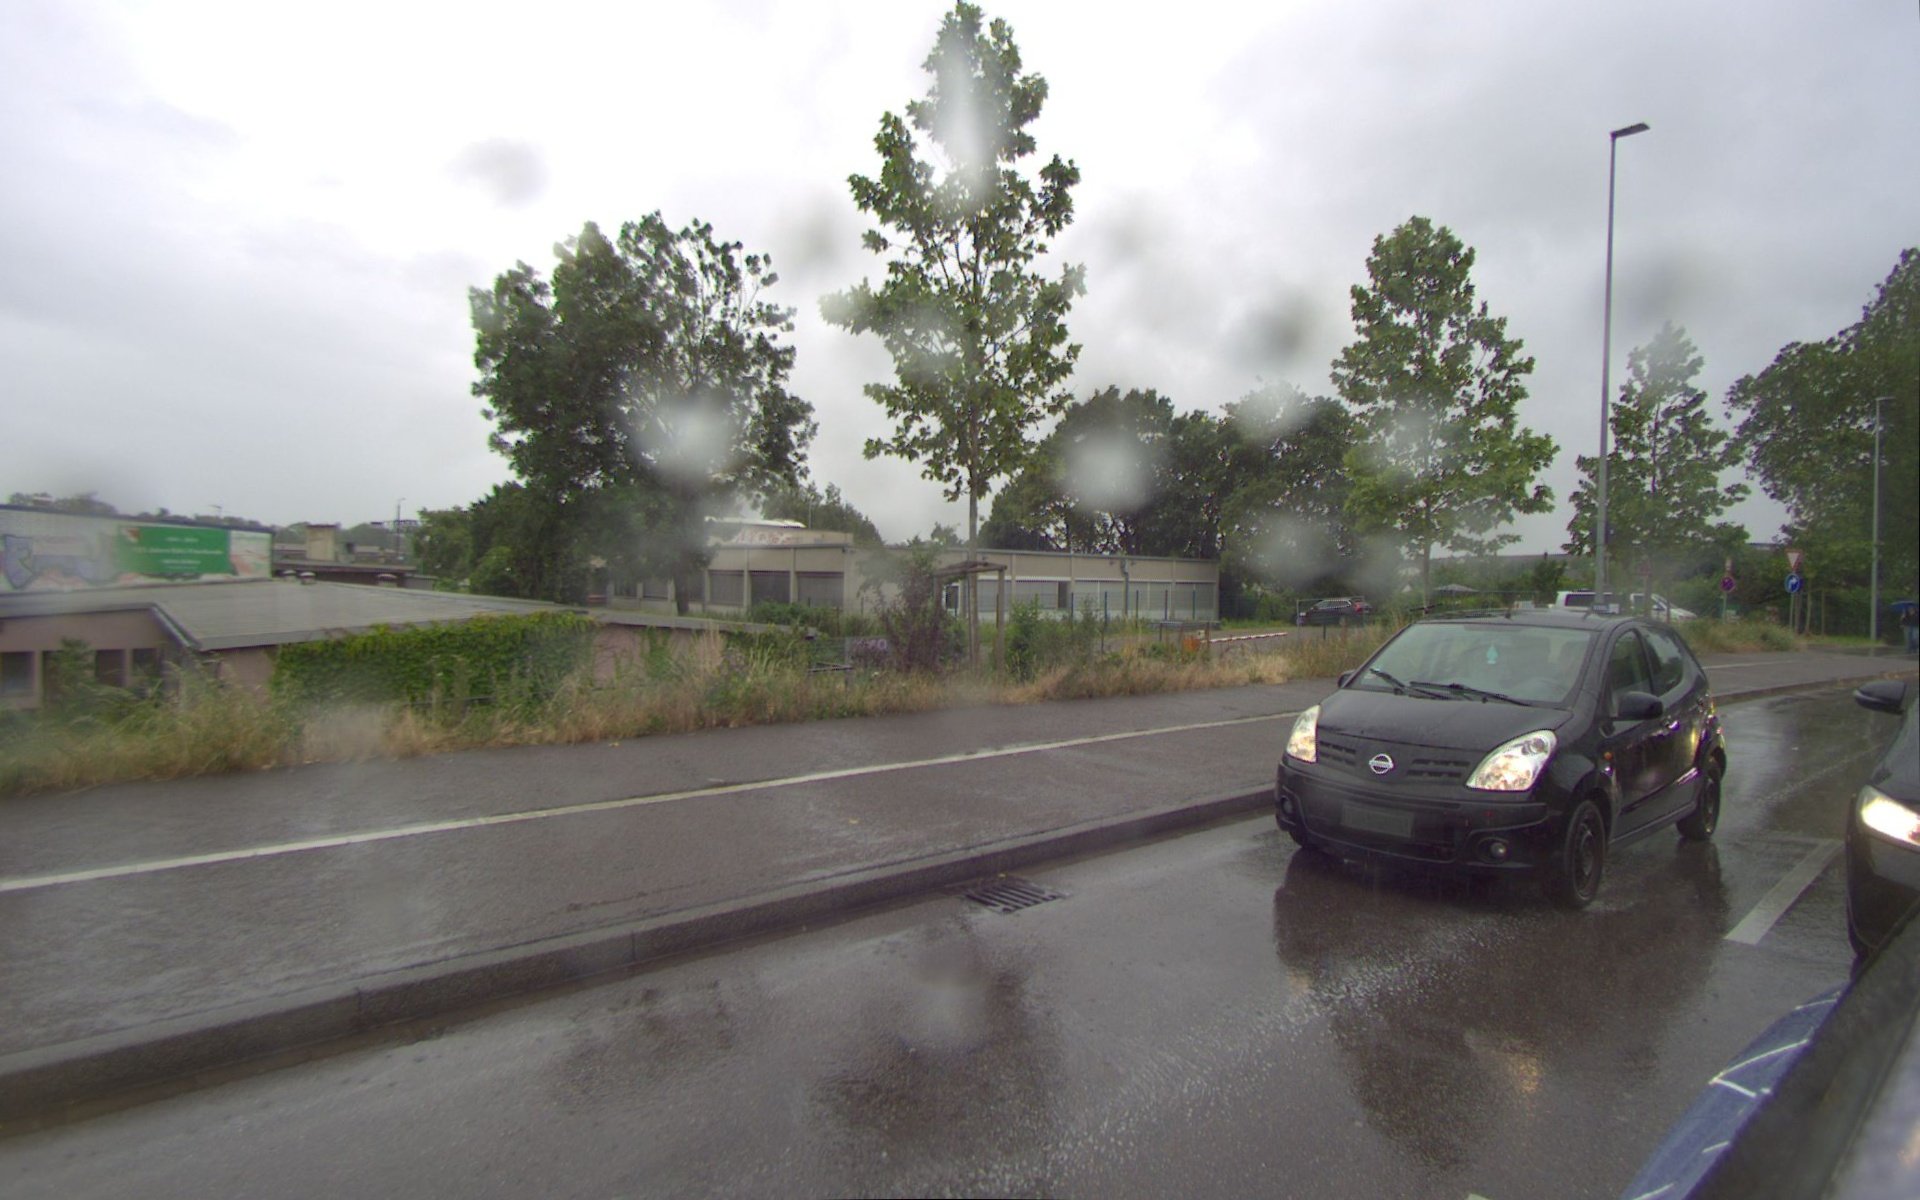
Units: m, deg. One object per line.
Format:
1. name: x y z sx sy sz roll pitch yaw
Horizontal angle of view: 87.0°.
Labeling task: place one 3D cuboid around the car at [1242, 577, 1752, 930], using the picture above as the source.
1. car: 3.403 0.664 6.139 3.554 1.528 1.556 0 0 -41

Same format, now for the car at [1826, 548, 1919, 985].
1. car: 5.536 0.635 4.396 4.089 1.601 1.760 1 0 -35

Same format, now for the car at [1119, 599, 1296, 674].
1. car: 4.683 0.642 19.497 1.319 1.304 3.246 0 0 -35

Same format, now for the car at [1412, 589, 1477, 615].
1. car: 30.930 0.106 64.689 1.319 1.604 3.555 0 0 -35

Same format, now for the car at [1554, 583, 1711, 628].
1. car: 28.155 0.223 42.511 1.972 1.747 5.168 0 0 -42

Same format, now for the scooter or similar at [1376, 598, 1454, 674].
1. scooter or similar: 7.664 0.584 17.013 1.877 1.214 0.367 0 0 -38
